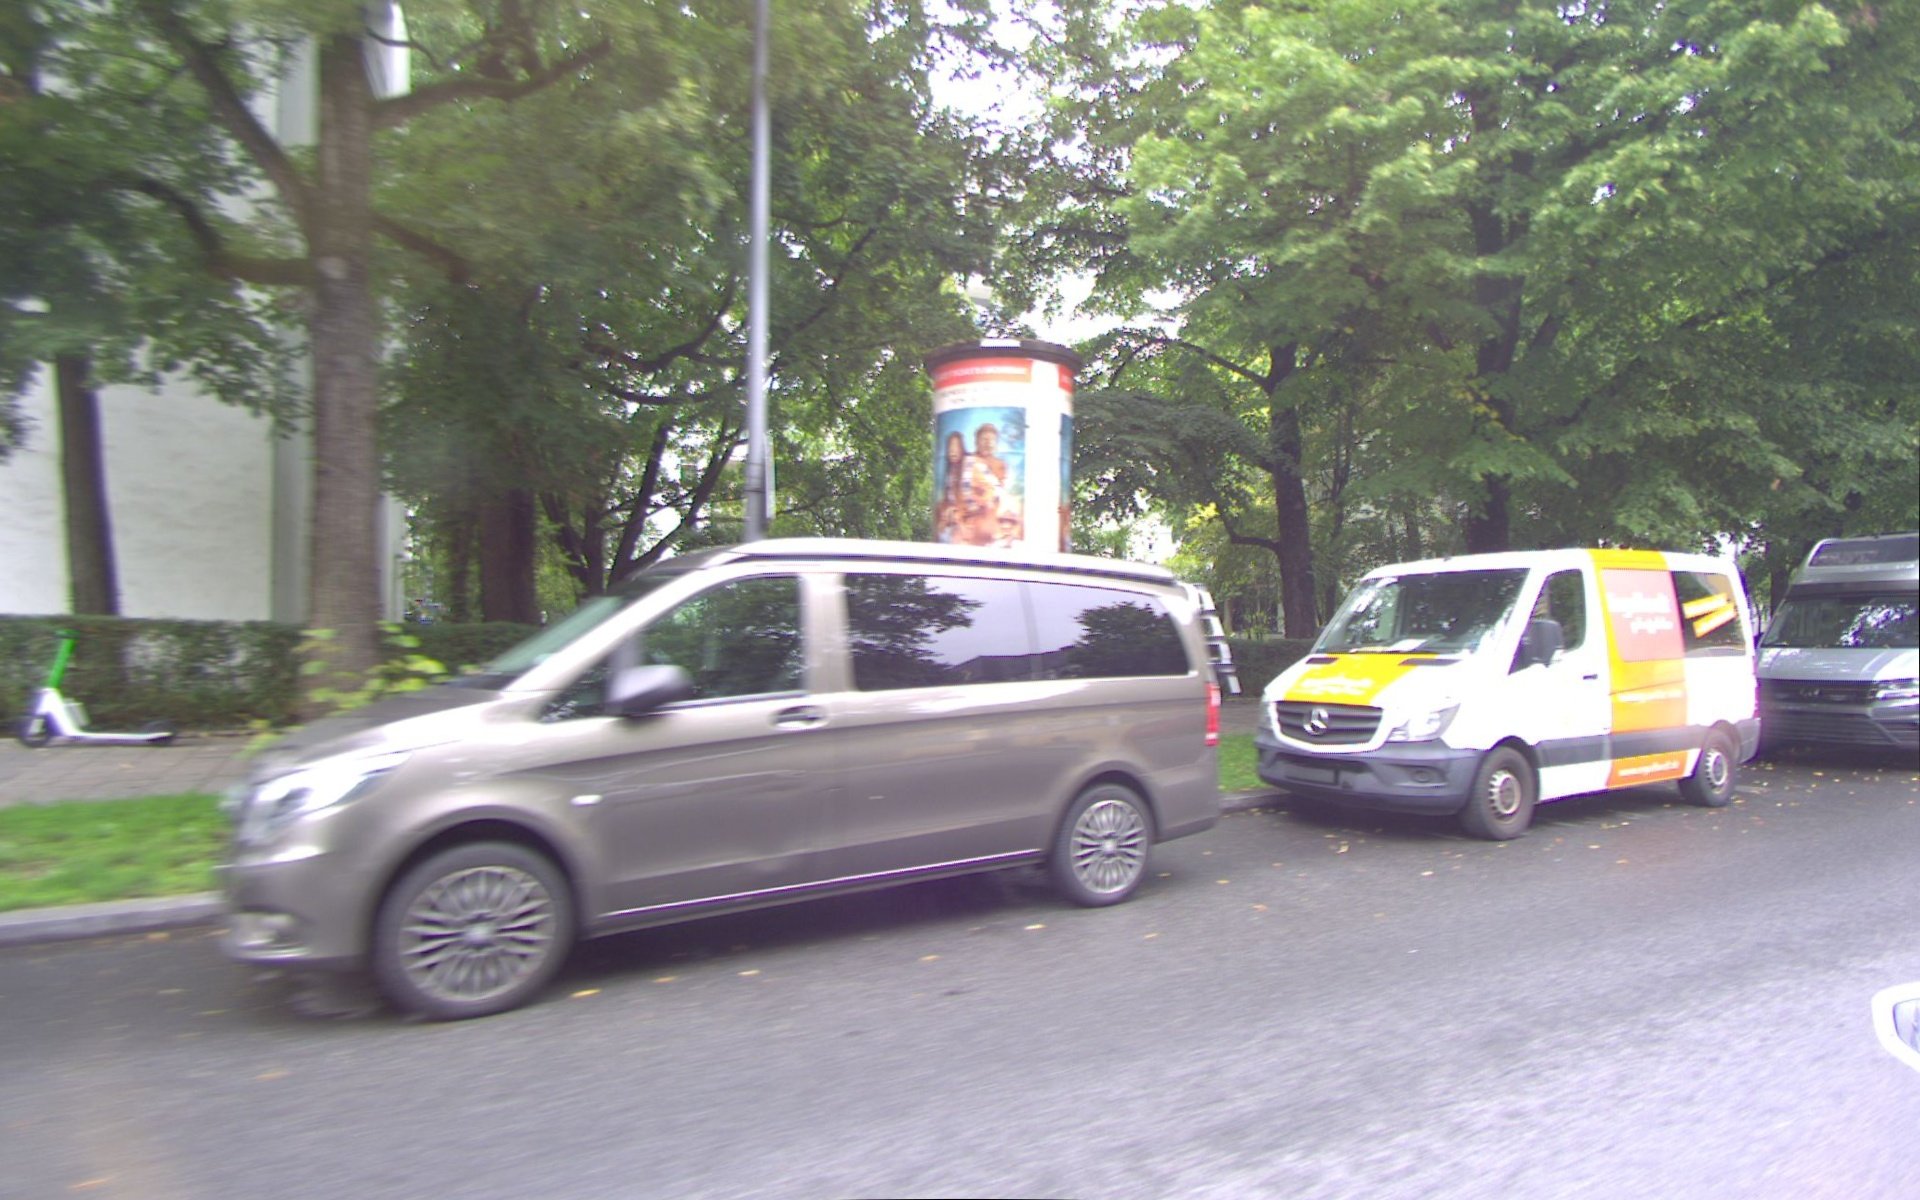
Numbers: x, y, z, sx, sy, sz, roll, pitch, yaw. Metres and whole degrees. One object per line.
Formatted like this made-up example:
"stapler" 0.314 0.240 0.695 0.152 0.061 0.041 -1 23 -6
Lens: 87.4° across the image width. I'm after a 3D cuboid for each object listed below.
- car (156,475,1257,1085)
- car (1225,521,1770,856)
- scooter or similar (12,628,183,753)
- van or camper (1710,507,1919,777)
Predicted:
"car" -0.885 0.675 5.432 5.151 1.958 1.877 2 -3 -32
"car" 4.981 0.703 9.087 5.182 2.302 1.937 2 -3 -31
"scooter or similar" -8.645 0.891 10.112 1.199 1.209 0.397 2 -2 -25
"van or camper" 12.661 0.572 13.479 5.940 2.983 1.991 2 -3 -31
